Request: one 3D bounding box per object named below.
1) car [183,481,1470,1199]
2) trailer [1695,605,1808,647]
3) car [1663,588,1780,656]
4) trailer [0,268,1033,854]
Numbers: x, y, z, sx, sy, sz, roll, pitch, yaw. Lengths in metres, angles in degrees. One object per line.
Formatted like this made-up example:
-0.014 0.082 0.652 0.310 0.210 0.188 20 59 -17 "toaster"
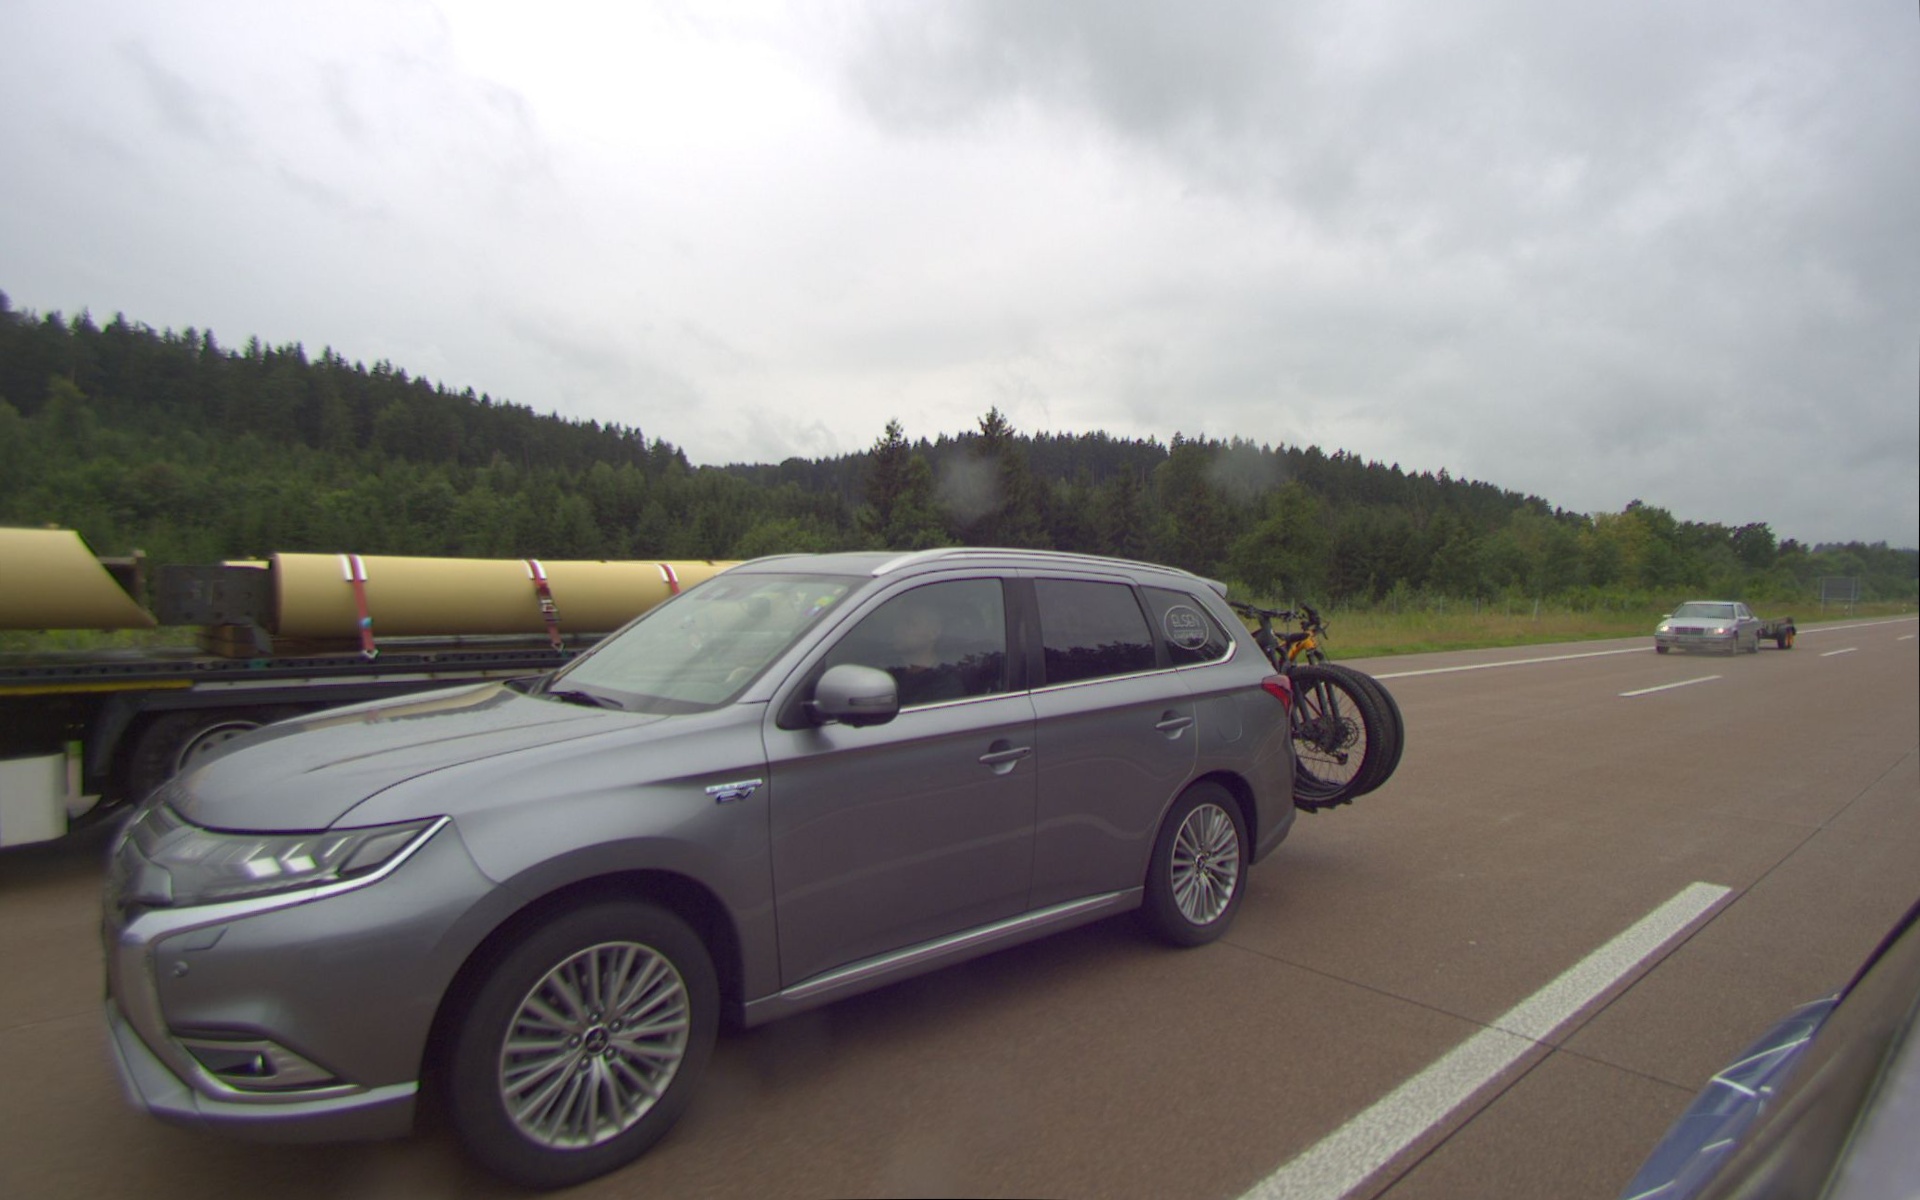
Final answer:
0.087 0.494 4.659 5.719 1.612 1.997 -2 1 -41 "car"
24.301 0.747 31.002 4.559 1.181 1.974 0 0 -42 "trailer"
20.996 0.531 27.814 4.892 1.631 1.700 -2 2 -42 "car"
-4.478 -0.215 6.581 11.203 2.709 2.885 -2 1 -42 "trailer"
